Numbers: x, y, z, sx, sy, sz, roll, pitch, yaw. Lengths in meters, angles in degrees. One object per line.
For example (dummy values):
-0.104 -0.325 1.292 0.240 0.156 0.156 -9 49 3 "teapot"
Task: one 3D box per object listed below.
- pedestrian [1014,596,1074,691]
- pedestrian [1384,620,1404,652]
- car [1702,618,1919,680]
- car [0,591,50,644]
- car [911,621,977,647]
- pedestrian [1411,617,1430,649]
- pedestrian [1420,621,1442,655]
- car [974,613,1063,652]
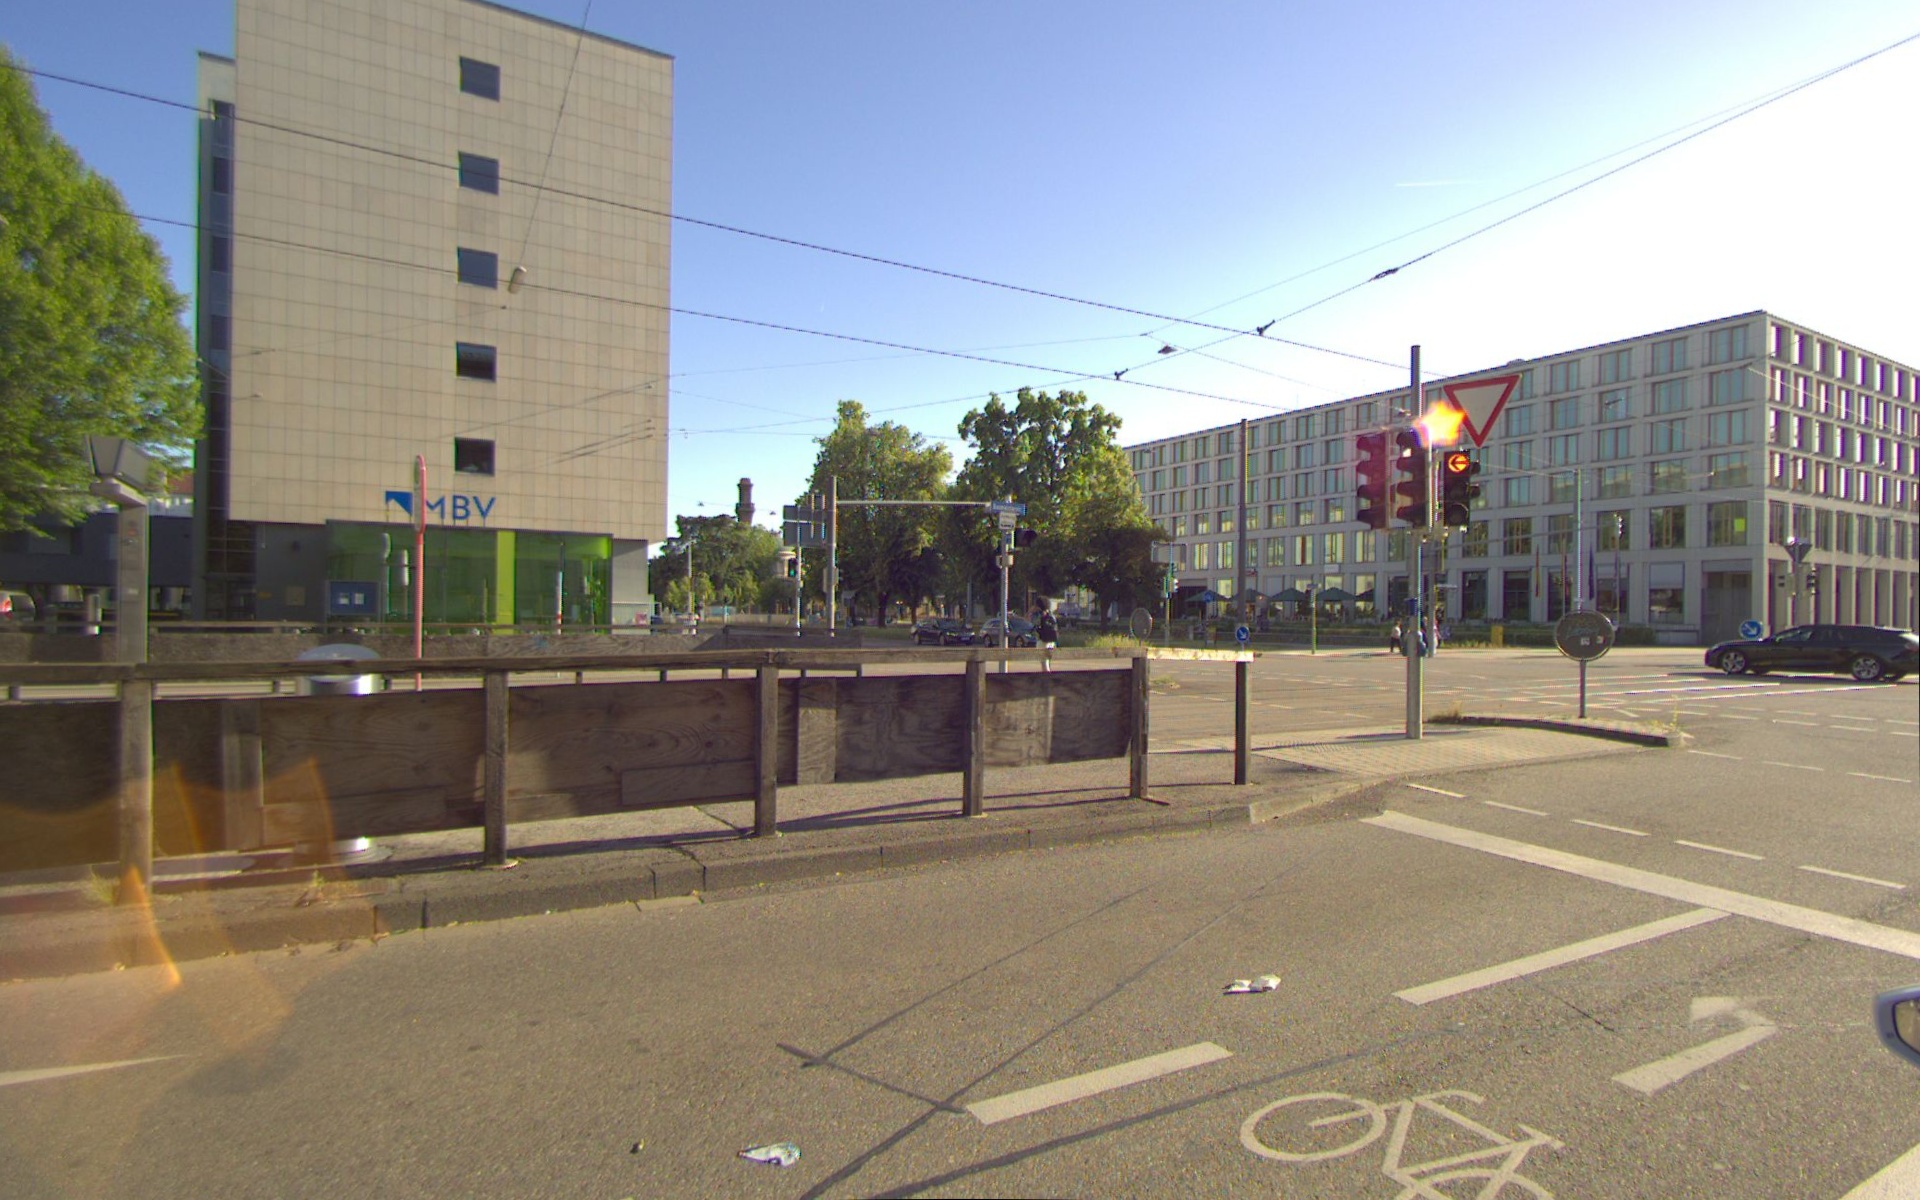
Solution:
1.595 0.816 19.119 0.819 1.740 0.753 1 1 -34 "pedestrian"
22.314 1.842 51.636 0.612 1.666 0.692 1 -1 -23 "pedestrian"
23.412 1.304 27.377 1.978 1.433 4.710 4 -2 -31 "car"
-27.724 0.448 27.798 3.371 1.431 1.562 2 0 -20 "car"
-0.920 1.825 53.908 1.755 1.311 4.209 1 -1 -30 "car"
23.583 1.687 51.464 0.615 1.666 0.690 1 -1 -34 "pedestrian"
23.496 1.893 50.083 0.615 1.666 0.787 1 -1 -34 "pedestrian"
2.730 1.508 47.846 1.833 1.602 4.486 1 1 -34 "car"
